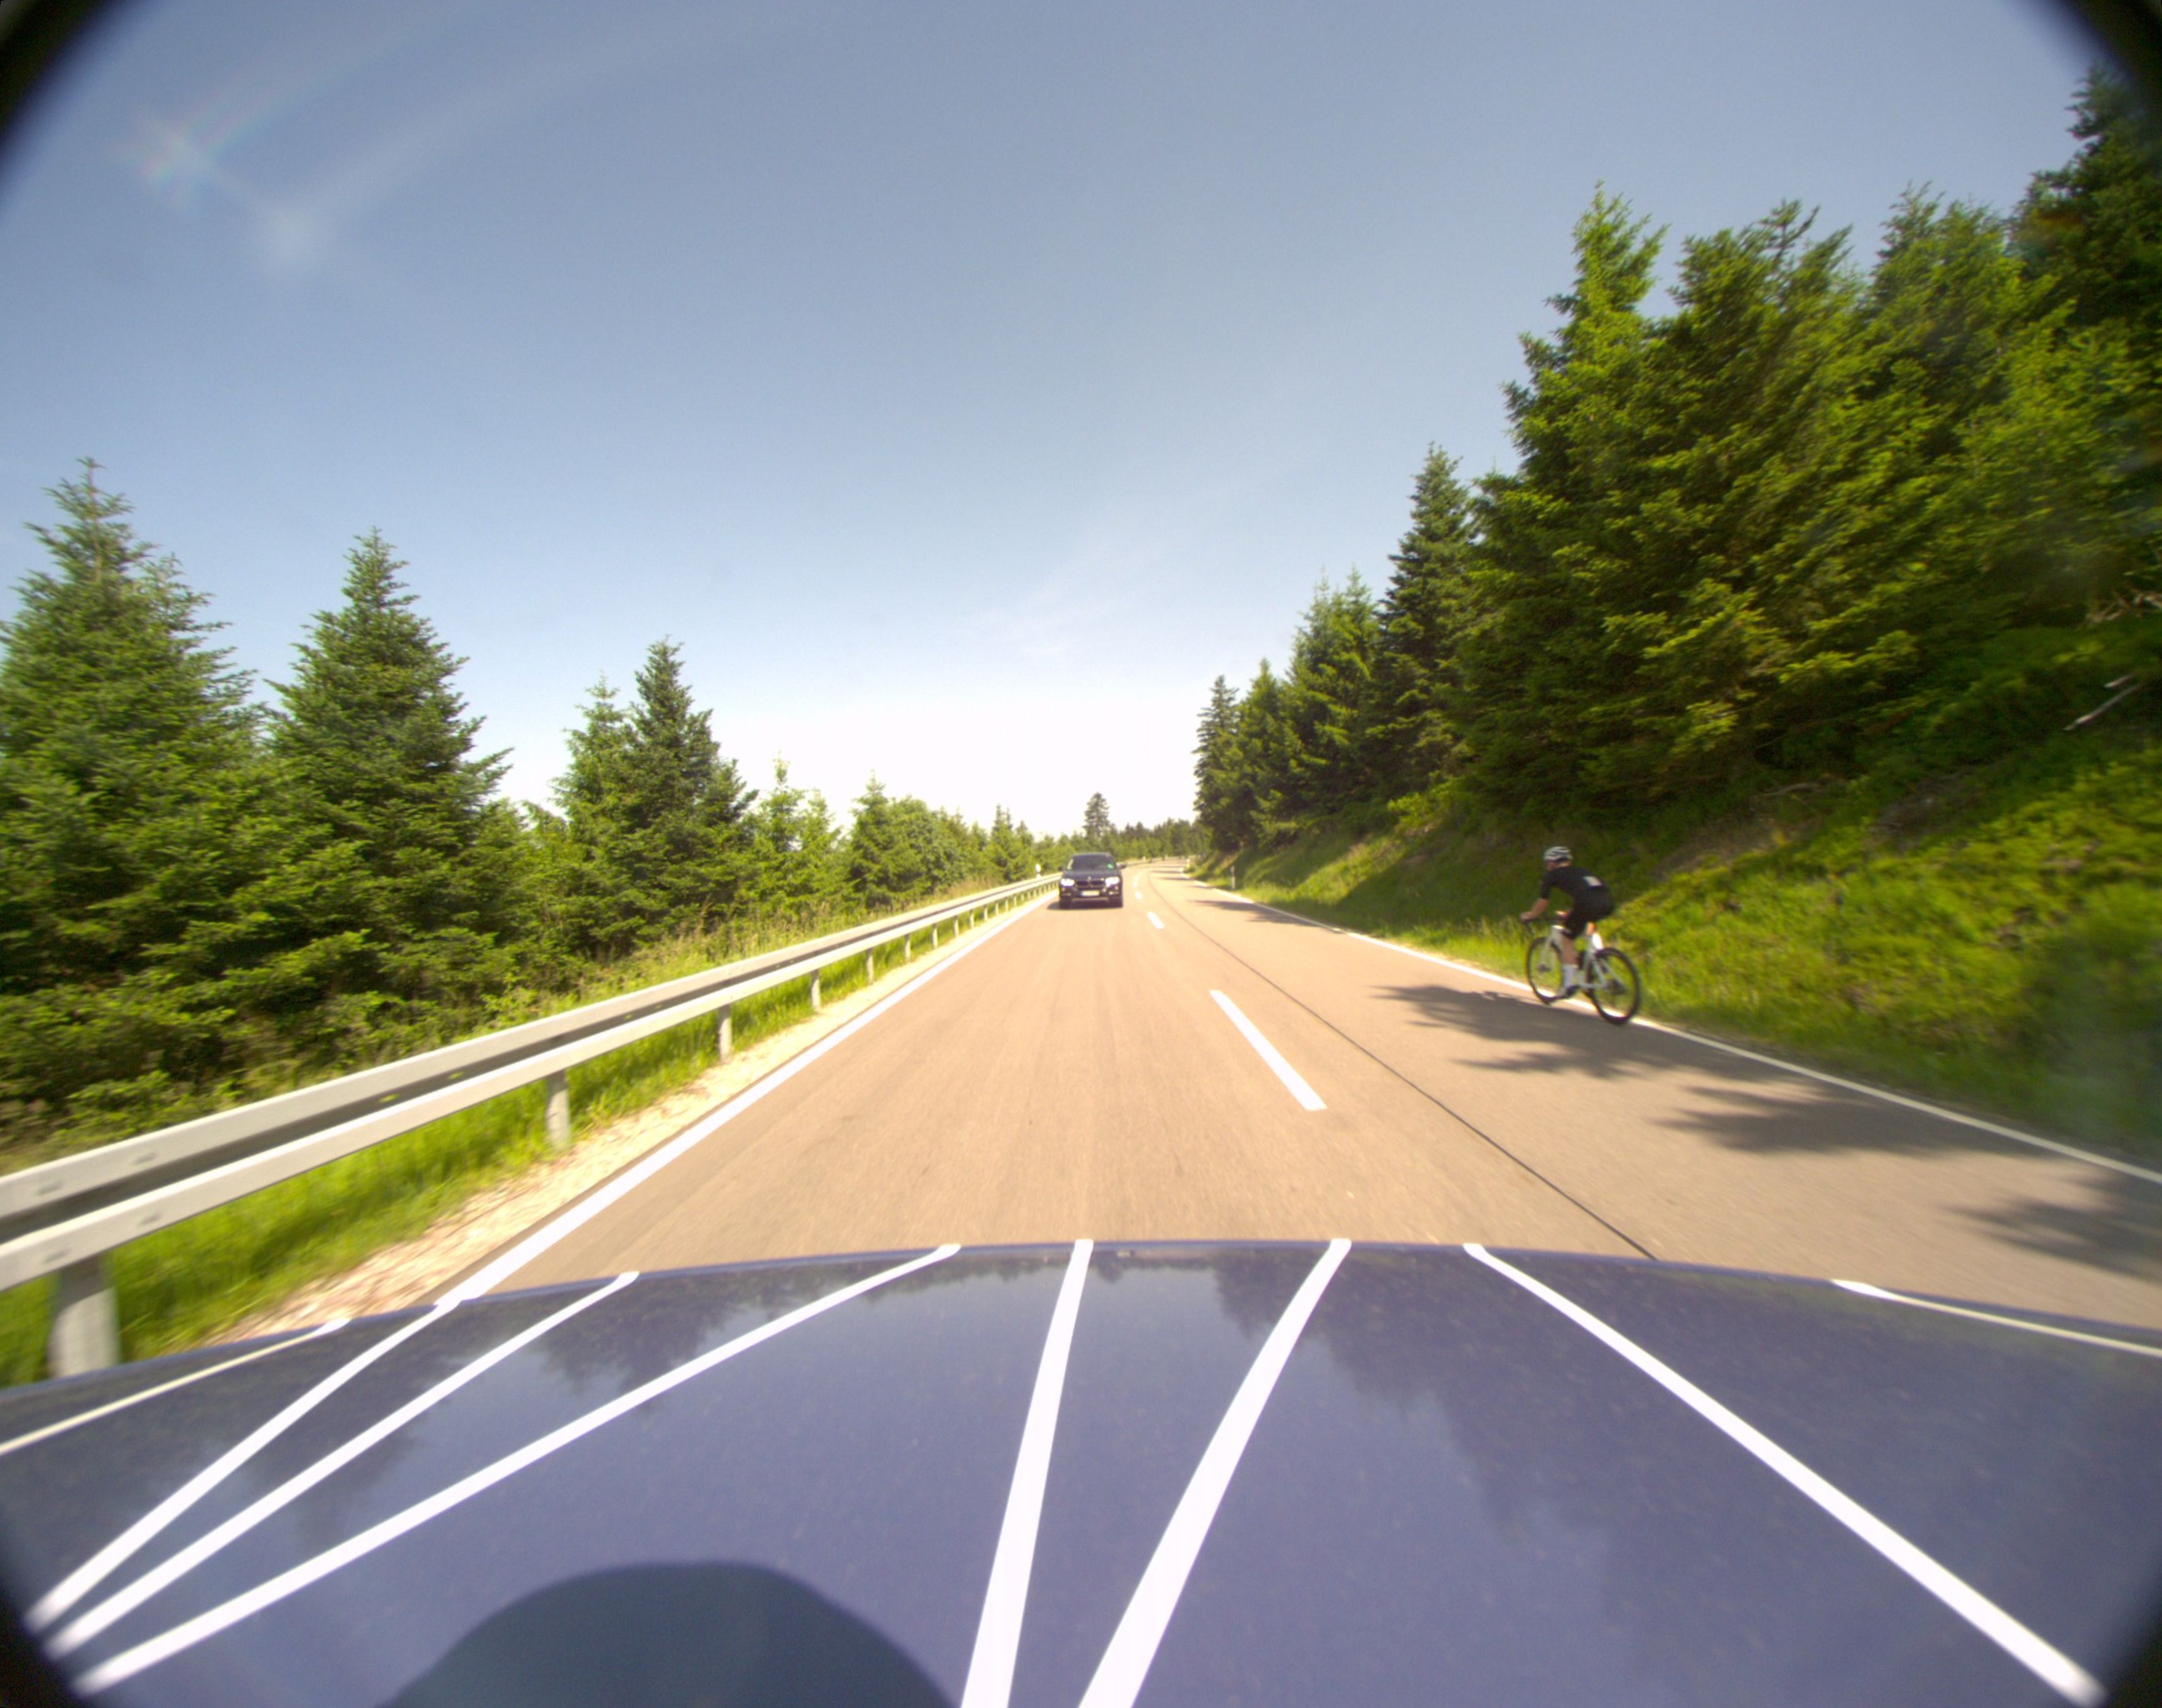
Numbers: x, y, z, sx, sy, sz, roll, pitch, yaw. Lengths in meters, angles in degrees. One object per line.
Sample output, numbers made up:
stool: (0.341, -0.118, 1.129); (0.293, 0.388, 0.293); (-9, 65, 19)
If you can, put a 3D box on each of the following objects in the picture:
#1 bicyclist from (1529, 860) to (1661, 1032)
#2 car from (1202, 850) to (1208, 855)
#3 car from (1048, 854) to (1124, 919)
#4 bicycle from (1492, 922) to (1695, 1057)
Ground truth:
bicyclist: (4.643, 0.782, 6.925); (0.543, 1.442, 0.983); (-1, 0, 1)
car: (33.911, -0.422, 208.249); (1.687, 1.406, 3.264); (-1, 0, 9)
car: (0.288, 0.866, 23.214); (1.998, 1.676, 5.938); (-1, 0, 3)
bicycle: (4.644, 1.177, 7.090); (0.554, 0.881, 2.062); (-1, 0, 2)
